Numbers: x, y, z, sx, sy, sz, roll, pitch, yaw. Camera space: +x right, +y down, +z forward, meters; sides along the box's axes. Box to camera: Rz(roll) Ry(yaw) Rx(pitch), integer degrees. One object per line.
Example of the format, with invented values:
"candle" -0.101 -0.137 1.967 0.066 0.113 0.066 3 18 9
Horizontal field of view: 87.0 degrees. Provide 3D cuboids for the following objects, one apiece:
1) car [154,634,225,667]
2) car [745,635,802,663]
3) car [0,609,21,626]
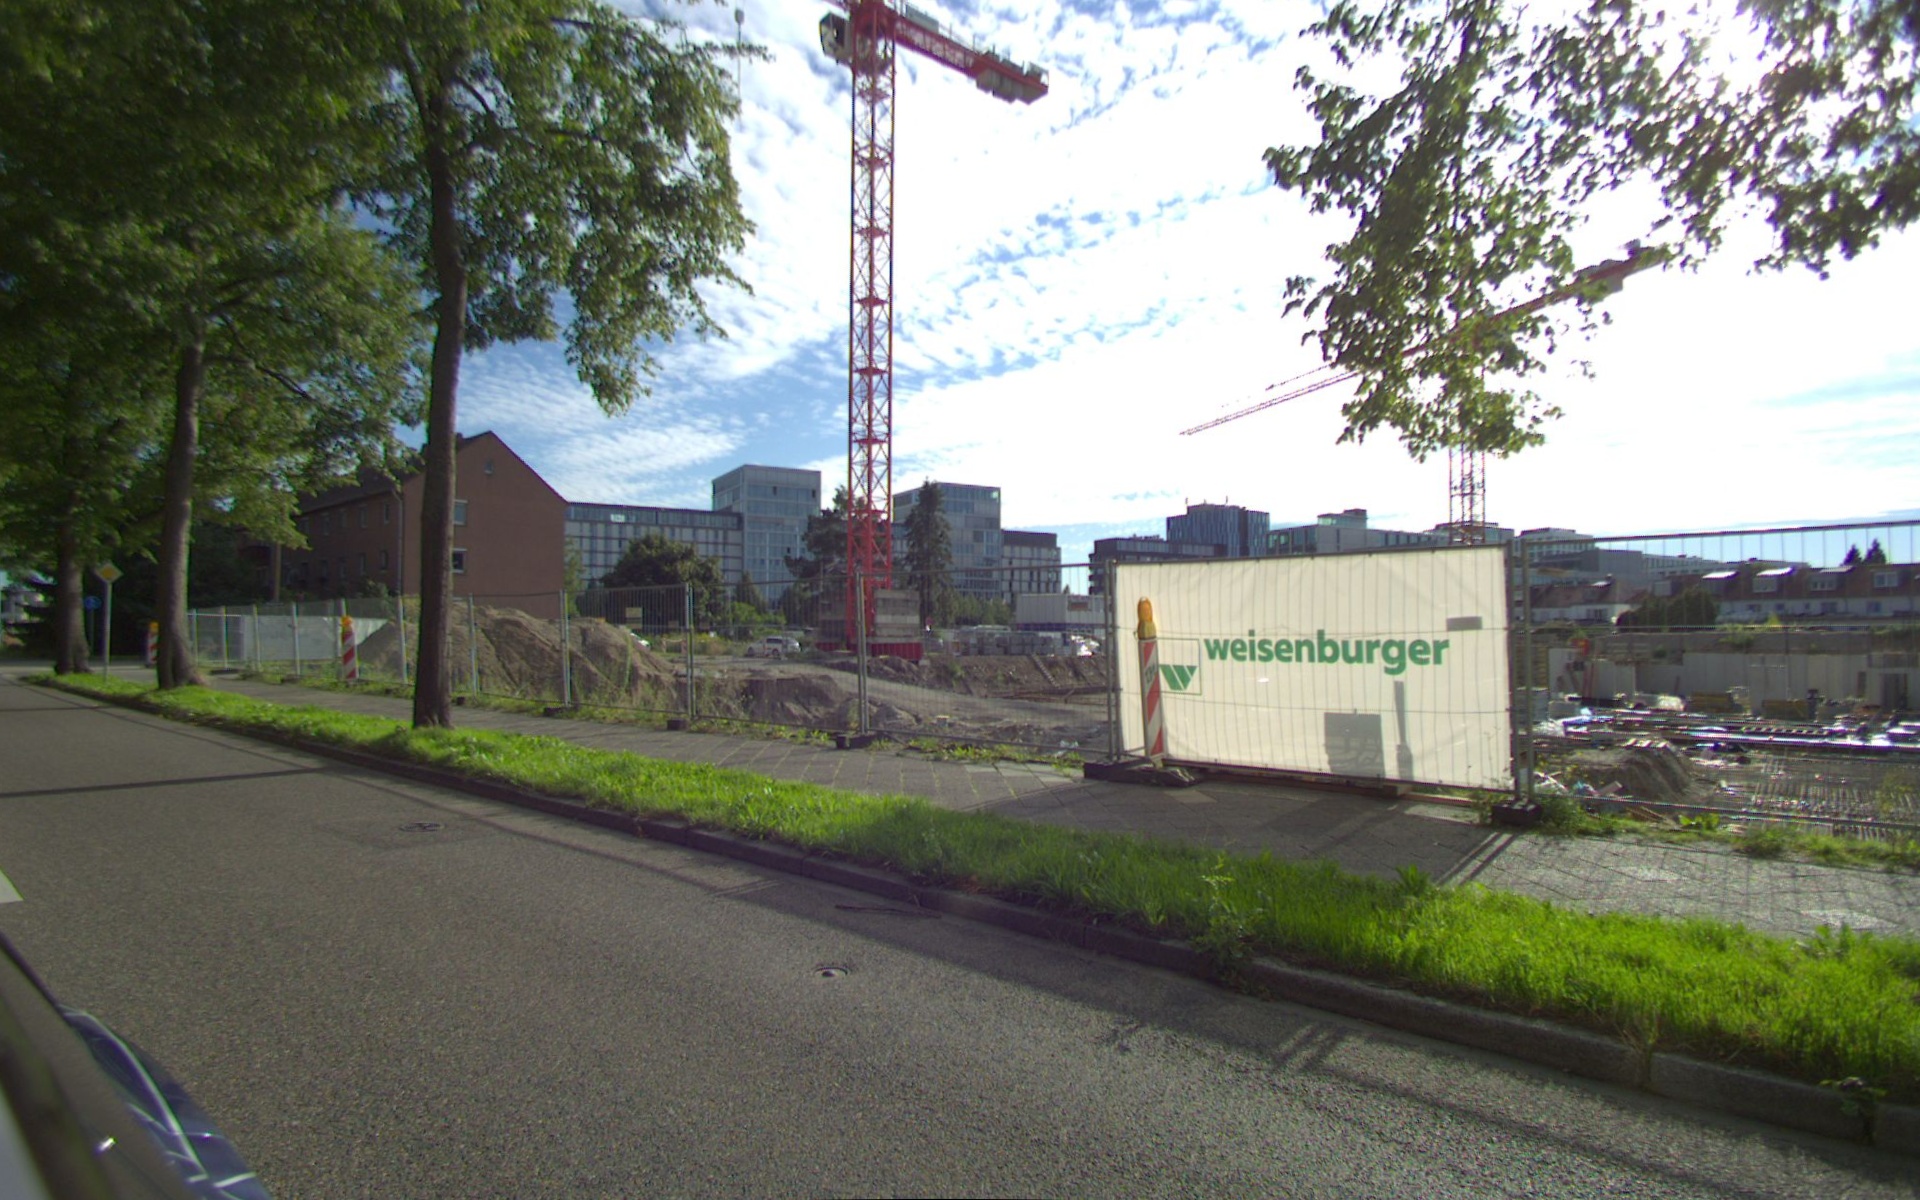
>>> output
"car" -37.483 2.444 49.186 4.508 1.439 1.971 0 -3 43
"car" -13.603 3.532 73.677 3.977 1.821 1.796 0 -1 36
"car" -110.665 2.020 114.626 6.161 1.881 2.479 0 -1 -2
